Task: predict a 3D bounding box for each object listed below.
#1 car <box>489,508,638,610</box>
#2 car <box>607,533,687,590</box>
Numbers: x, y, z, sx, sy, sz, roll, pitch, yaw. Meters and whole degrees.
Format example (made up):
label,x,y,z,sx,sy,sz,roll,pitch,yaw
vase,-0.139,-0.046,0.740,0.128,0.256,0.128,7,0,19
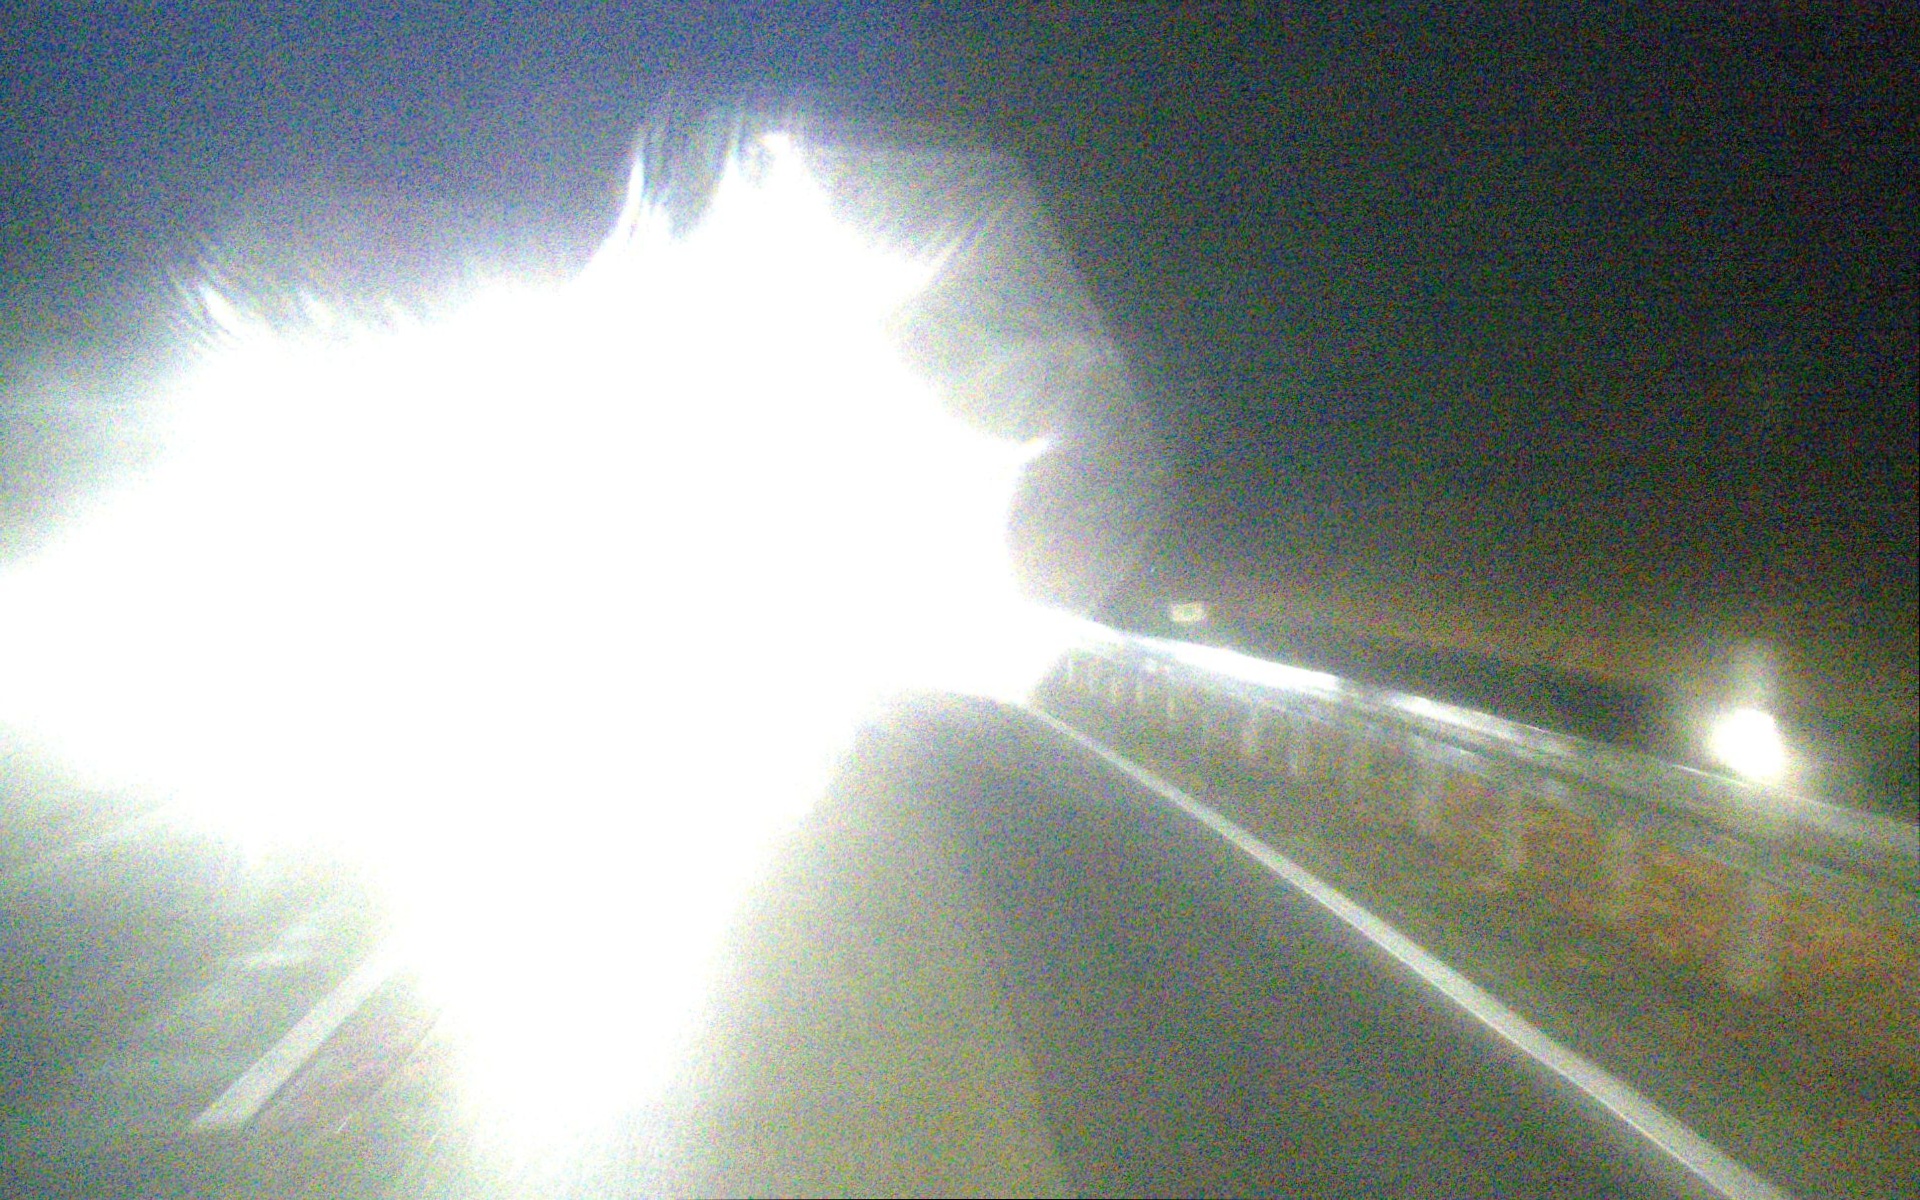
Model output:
label,x,y,z,sx,sy,sz,roll,pitch,yaw
car,-5.954,-0.641,51.941,1.993,1.467,3.837,1,1,-3
car,-7.597,-0.939,83.724,1.805,1.334,4.189,1,0,-4
